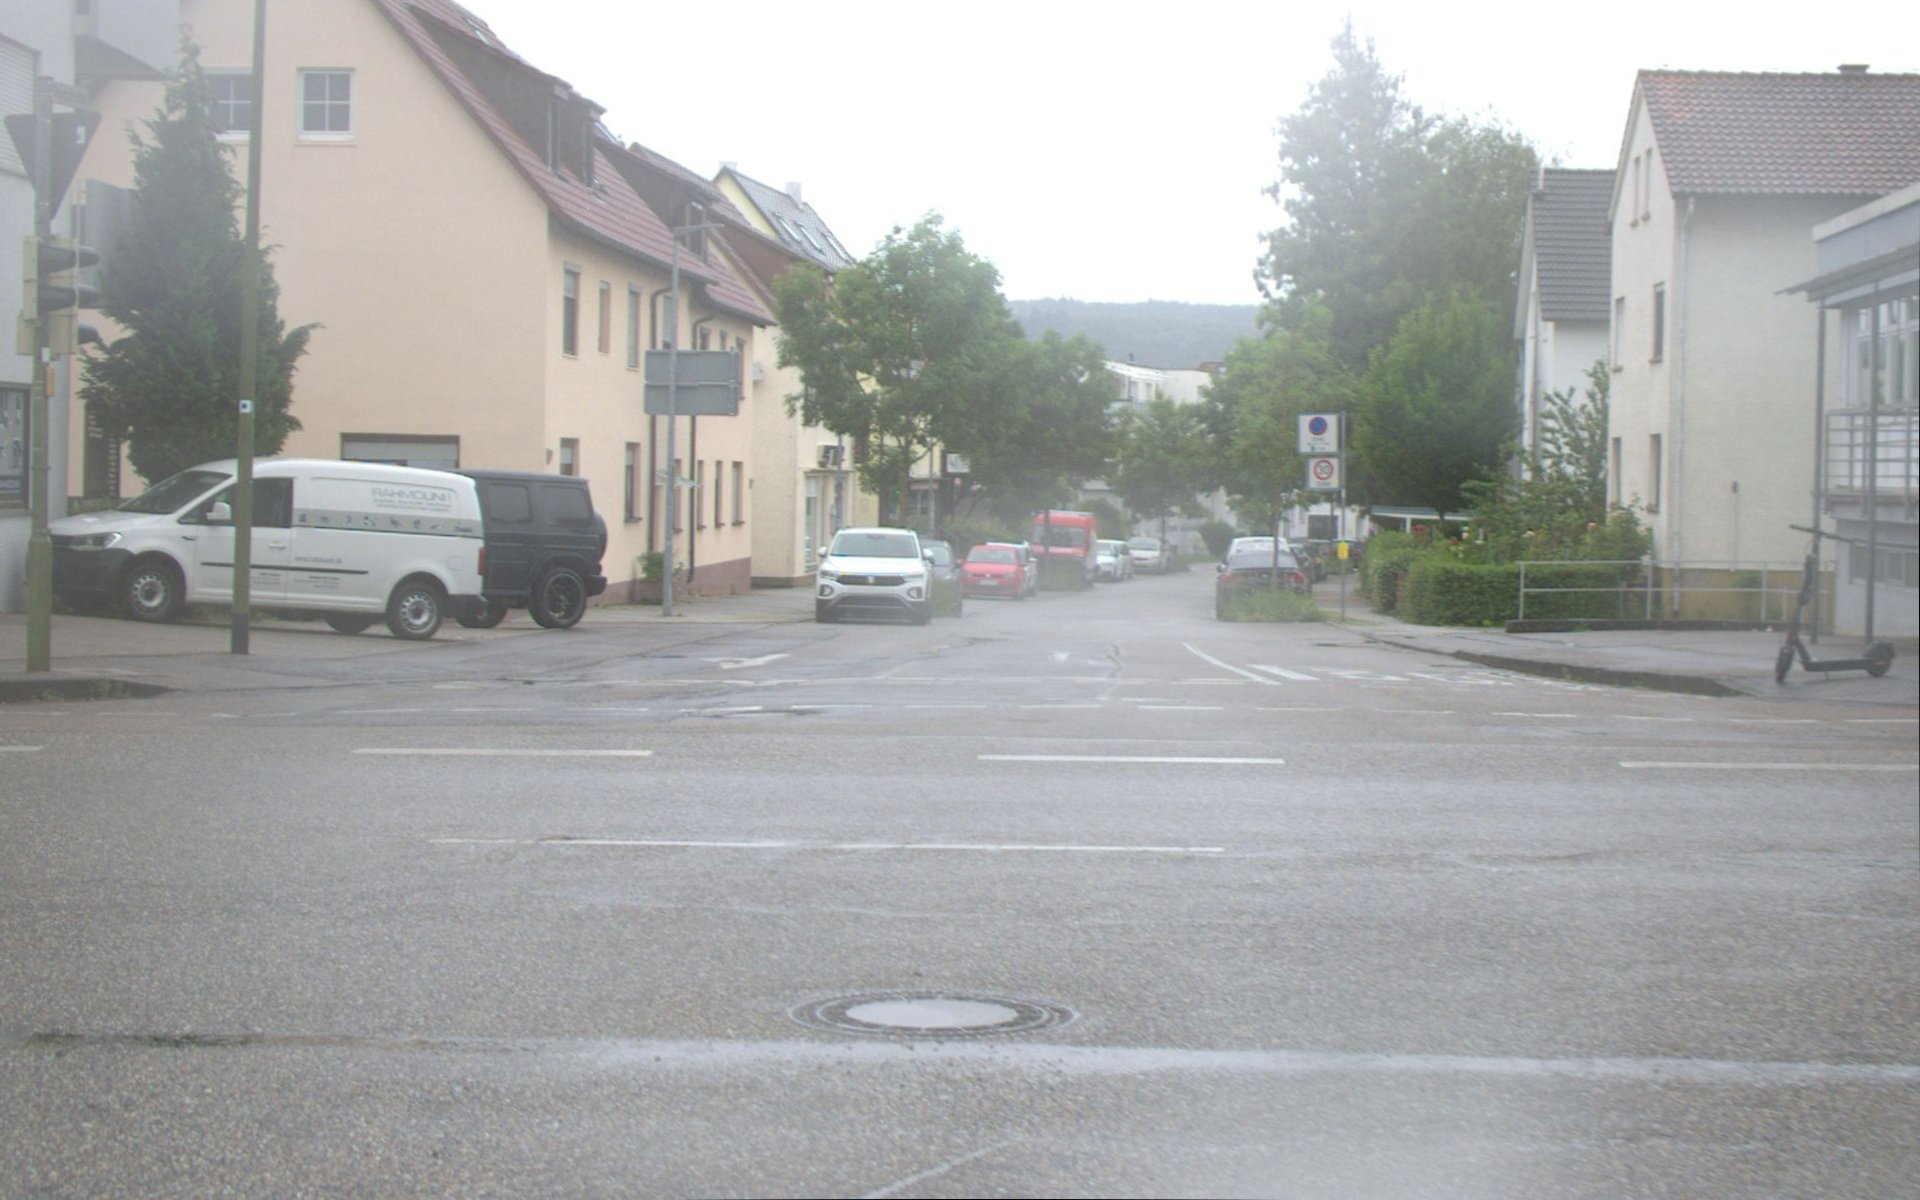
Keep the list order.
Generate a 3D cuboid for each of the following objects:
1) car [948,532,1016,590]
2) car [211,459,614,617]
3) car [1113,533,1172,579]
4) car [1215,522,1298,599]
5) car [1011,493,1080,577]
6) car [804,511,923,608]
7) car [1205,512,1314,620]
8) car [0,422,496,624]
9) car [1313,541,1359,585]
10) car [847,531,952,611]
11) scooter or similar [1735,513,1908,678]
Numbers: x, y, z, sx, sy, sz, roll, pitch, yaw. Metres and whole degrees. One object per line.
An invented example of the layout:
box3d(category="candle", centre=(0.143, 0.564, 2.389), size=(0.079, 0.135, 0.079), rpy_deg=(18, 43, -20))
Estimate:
box3d(category="car", centre=(0.580, -1.032, 92.295), size=(1.767, 1.513, 4.000), rpy_deg=(0, 0, 0))
box3d(category="car", centre=(-6.852, -0.751, 43.231), size=(4.607, 1.882, 1.963), rpy_deg=(0, 0, -36))
box3d(category="car", centre=(7.539, -1.794, 141.565), size=(1.994, 1.700, 3.998), rpy_deg=(0, -2, 9))
box3d(category="car", centre=(7.902, -1.041, 91.310), size=(1.994, 2.007, 3.999), rpy_deg=(0, 0, 8))
box3d(category="car", centre=(2.895, -2.157, 115.389), size=(2.217, 2.759, 5.724), rpy_deg=(0, 0, 2))
box3d(category="car", centre=(-1.533, -0.649, 55.956), size=(1.767, 1.518, 4.000), rpy_deg=(0, 0, 1))
box3d(category="car", centre=(6.051, -0.663, 69.120), size=(1.994, 2.007, 3.998), rpy_deg=(0, -2, 8))
box3d(category="car", centre=(-7.429, -0.755, 36.076), size=(4.714, 1.772, 1.773), rpy_deg=(4, -2, -36))
box3d(category="car", centre=(17.317, -1.691, 158.132), size=(1.994, 2.007, 3.999), rpy_deg=(0, 0, 8))
box3d(category="car", centre=(-1.162, -0.561, 67.420), size=(1.767, 1.513, 4.194), rpy_deg=(0, 0, 3))
box3d(category="scooter or similar", centre=(6.552, -0.025, 26.173), size=(1.058, 1.223, 0.802), rpy_deg=(1, -2, -6))
